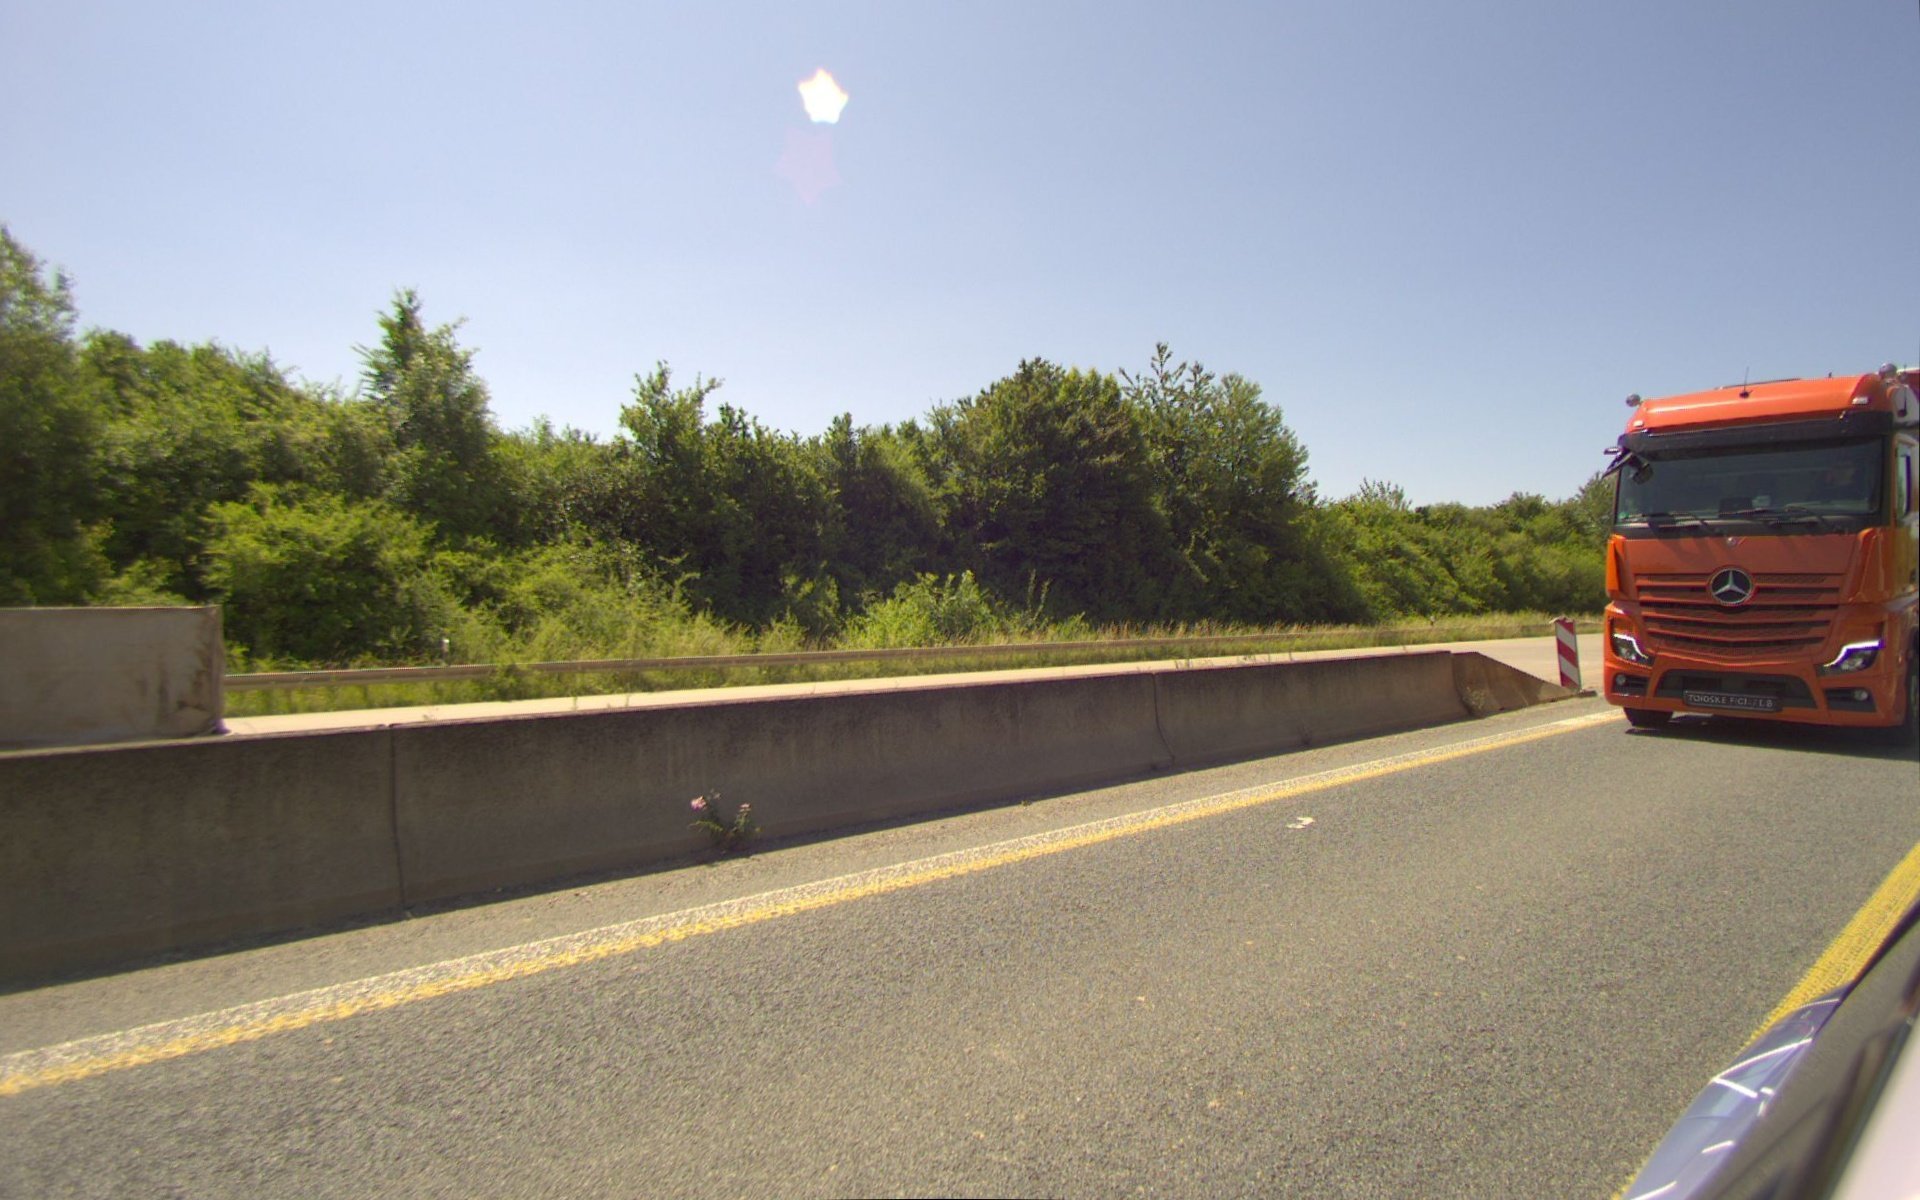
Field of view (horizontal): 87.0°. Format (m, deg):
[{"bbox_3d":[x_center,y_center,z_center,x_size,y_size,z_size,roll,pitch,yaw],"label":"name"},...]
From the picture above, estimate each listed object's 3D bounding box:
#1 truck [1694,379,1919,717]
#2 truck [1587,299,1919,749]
[{"bbox_3d":[15.842,-0.707,17.099,12.988,4.060,2.687,-1,0,-41],"label":"truck"},{"bbox_3d":[10.299,-0.732,12.300,6.608,4.060,2.687,-1,0,-41],"label":"truck"}]
